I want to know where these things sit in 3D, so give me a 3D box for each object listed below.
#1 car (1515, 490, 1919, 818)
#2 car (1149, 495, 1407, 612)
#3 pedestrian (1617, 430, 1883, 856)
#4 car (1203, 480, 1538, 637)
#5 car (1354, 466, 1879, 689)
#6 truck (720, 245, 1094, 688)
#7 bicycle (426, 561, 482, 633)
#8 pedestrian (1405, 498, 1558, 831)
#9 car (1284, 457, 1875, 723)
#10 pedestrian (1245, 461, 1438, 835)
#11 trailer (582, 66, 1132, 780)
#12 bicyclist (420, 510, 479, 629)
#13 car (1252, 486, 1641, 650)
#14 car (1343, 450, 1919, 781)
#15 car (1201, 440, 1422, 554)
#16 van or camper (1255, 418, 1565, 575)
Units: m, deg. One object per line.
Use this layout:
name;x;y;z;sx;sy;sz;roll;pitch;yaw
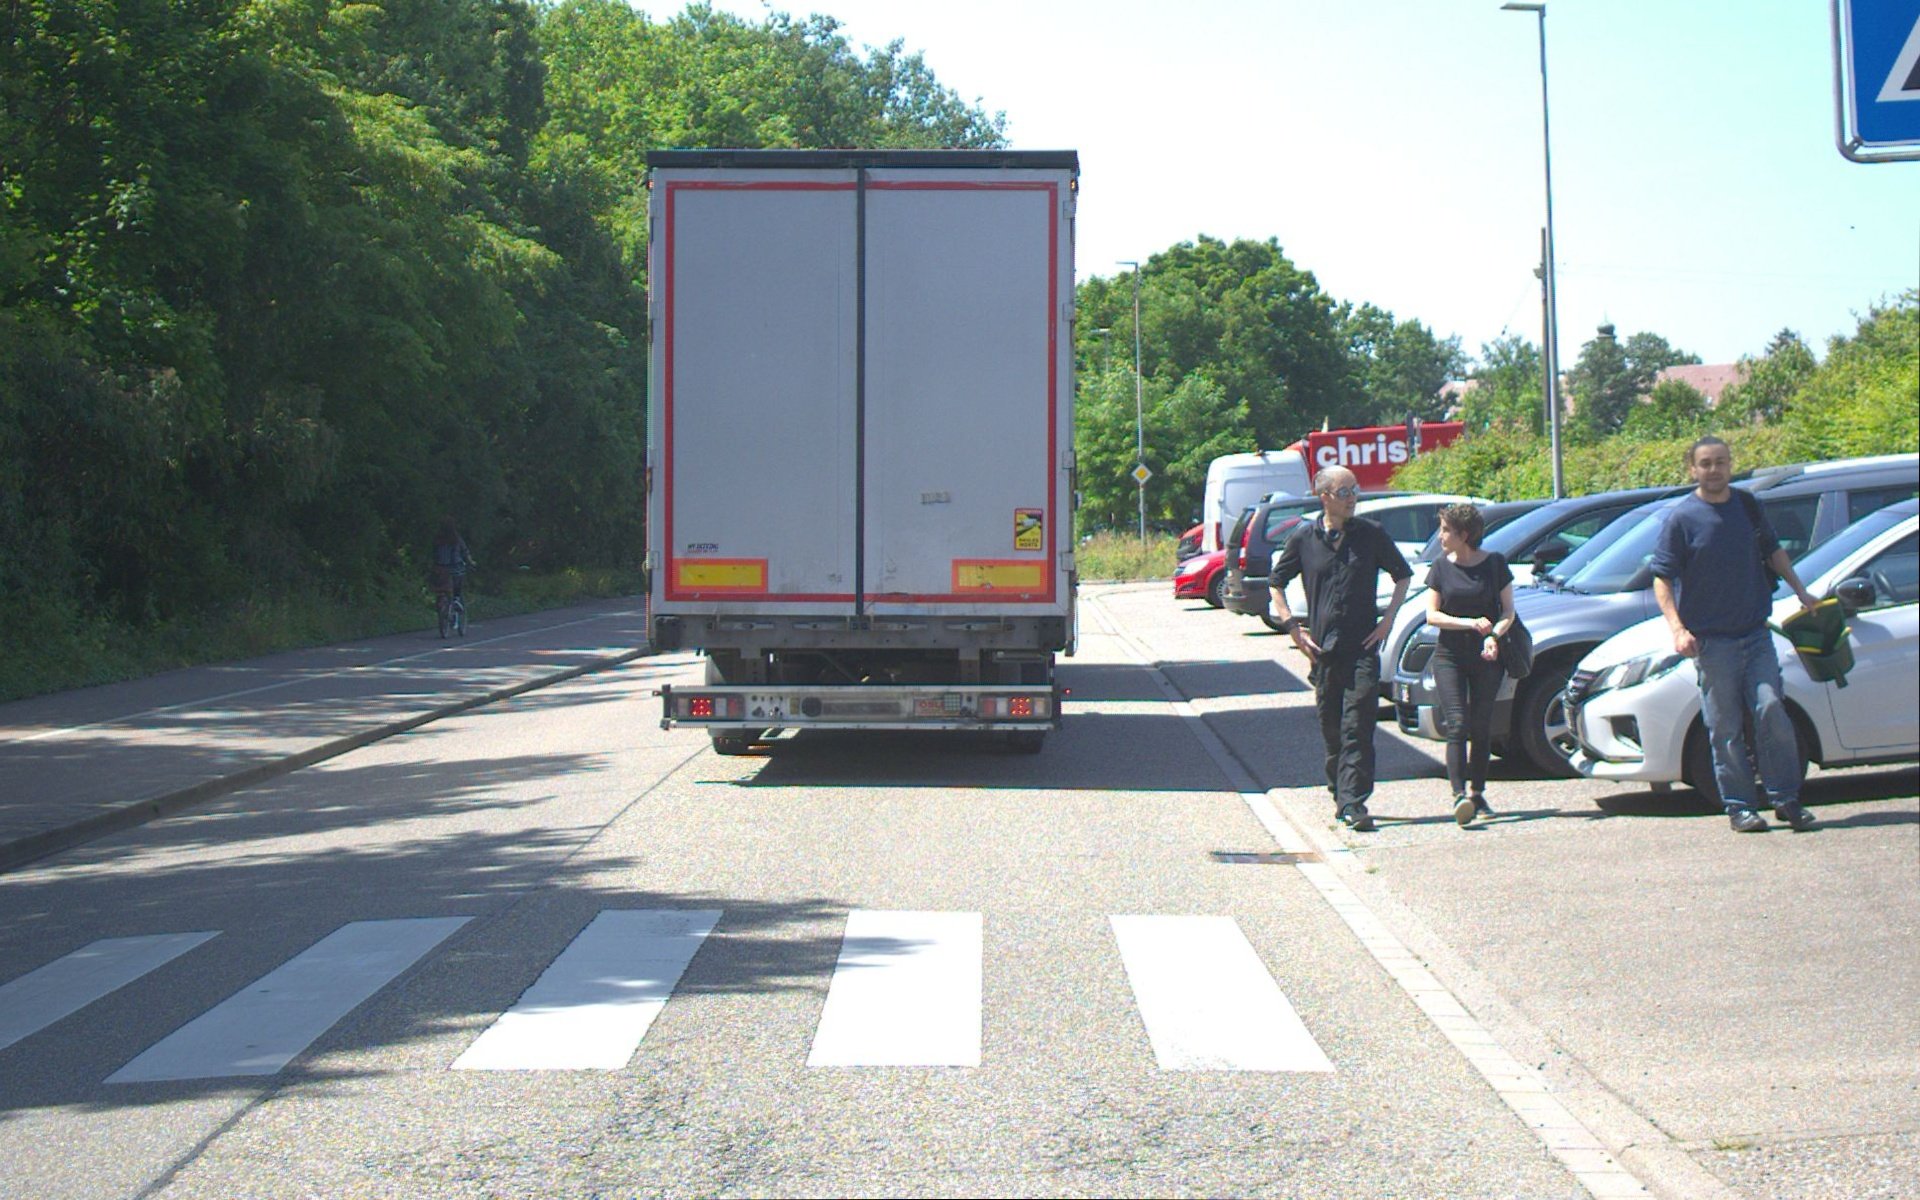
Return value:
car;4.948;0.175;17.460;3.957;1.475;1.813;-4;1;4
car;5.304;-0.776;57.654;3.956;1.662;1.814;-4;1;-4
pedestrian;3.529;0.183;15.438;0.907;1.792;0.935;-4;1;4
car;5.295;-0.546;44.692;3.956;1.759;1.814;-3;1;-4
car;5.579;-0.199;29.457;3.955;1.580;1.814;-4;1;-8
truck;-0.405;-1.213;32.625;3.114;3.712;6.414;-1;1;1
bicycle;-7.598;-0.058;51.686;0.454;1.043;2.203;-1;1;1
pedestrian;2.621;0.313;17.338;0.589;1.609;0.744;-4;1;4
car;4.643;-0.120;26.041;3.955;1.662;1.814;-4;3;-8
pedestrian;1.953;0.237;17.717;0.822;1.828;0.792;-4;1;4
trailer;-0.516;-1.153;25.805;3.113;4.088;11.537;-1;1;1
bicyclist;-7.636;-0.457;51.449;0.717;1.752;0.796;-1;1;3
car;5.416;-0.366;38.540;3.956;1.613;1.814;-3;1;-4
car;4.462;0.039;20.335;3.955;1.662;1.814;-4;1;-6
car;6.654;-1.944;65.426;3.956;1.792;1.813;-4;-1;2
van or camper;10.715;-2.424;81.618;7.049;3.574;2.771;0;1;13
